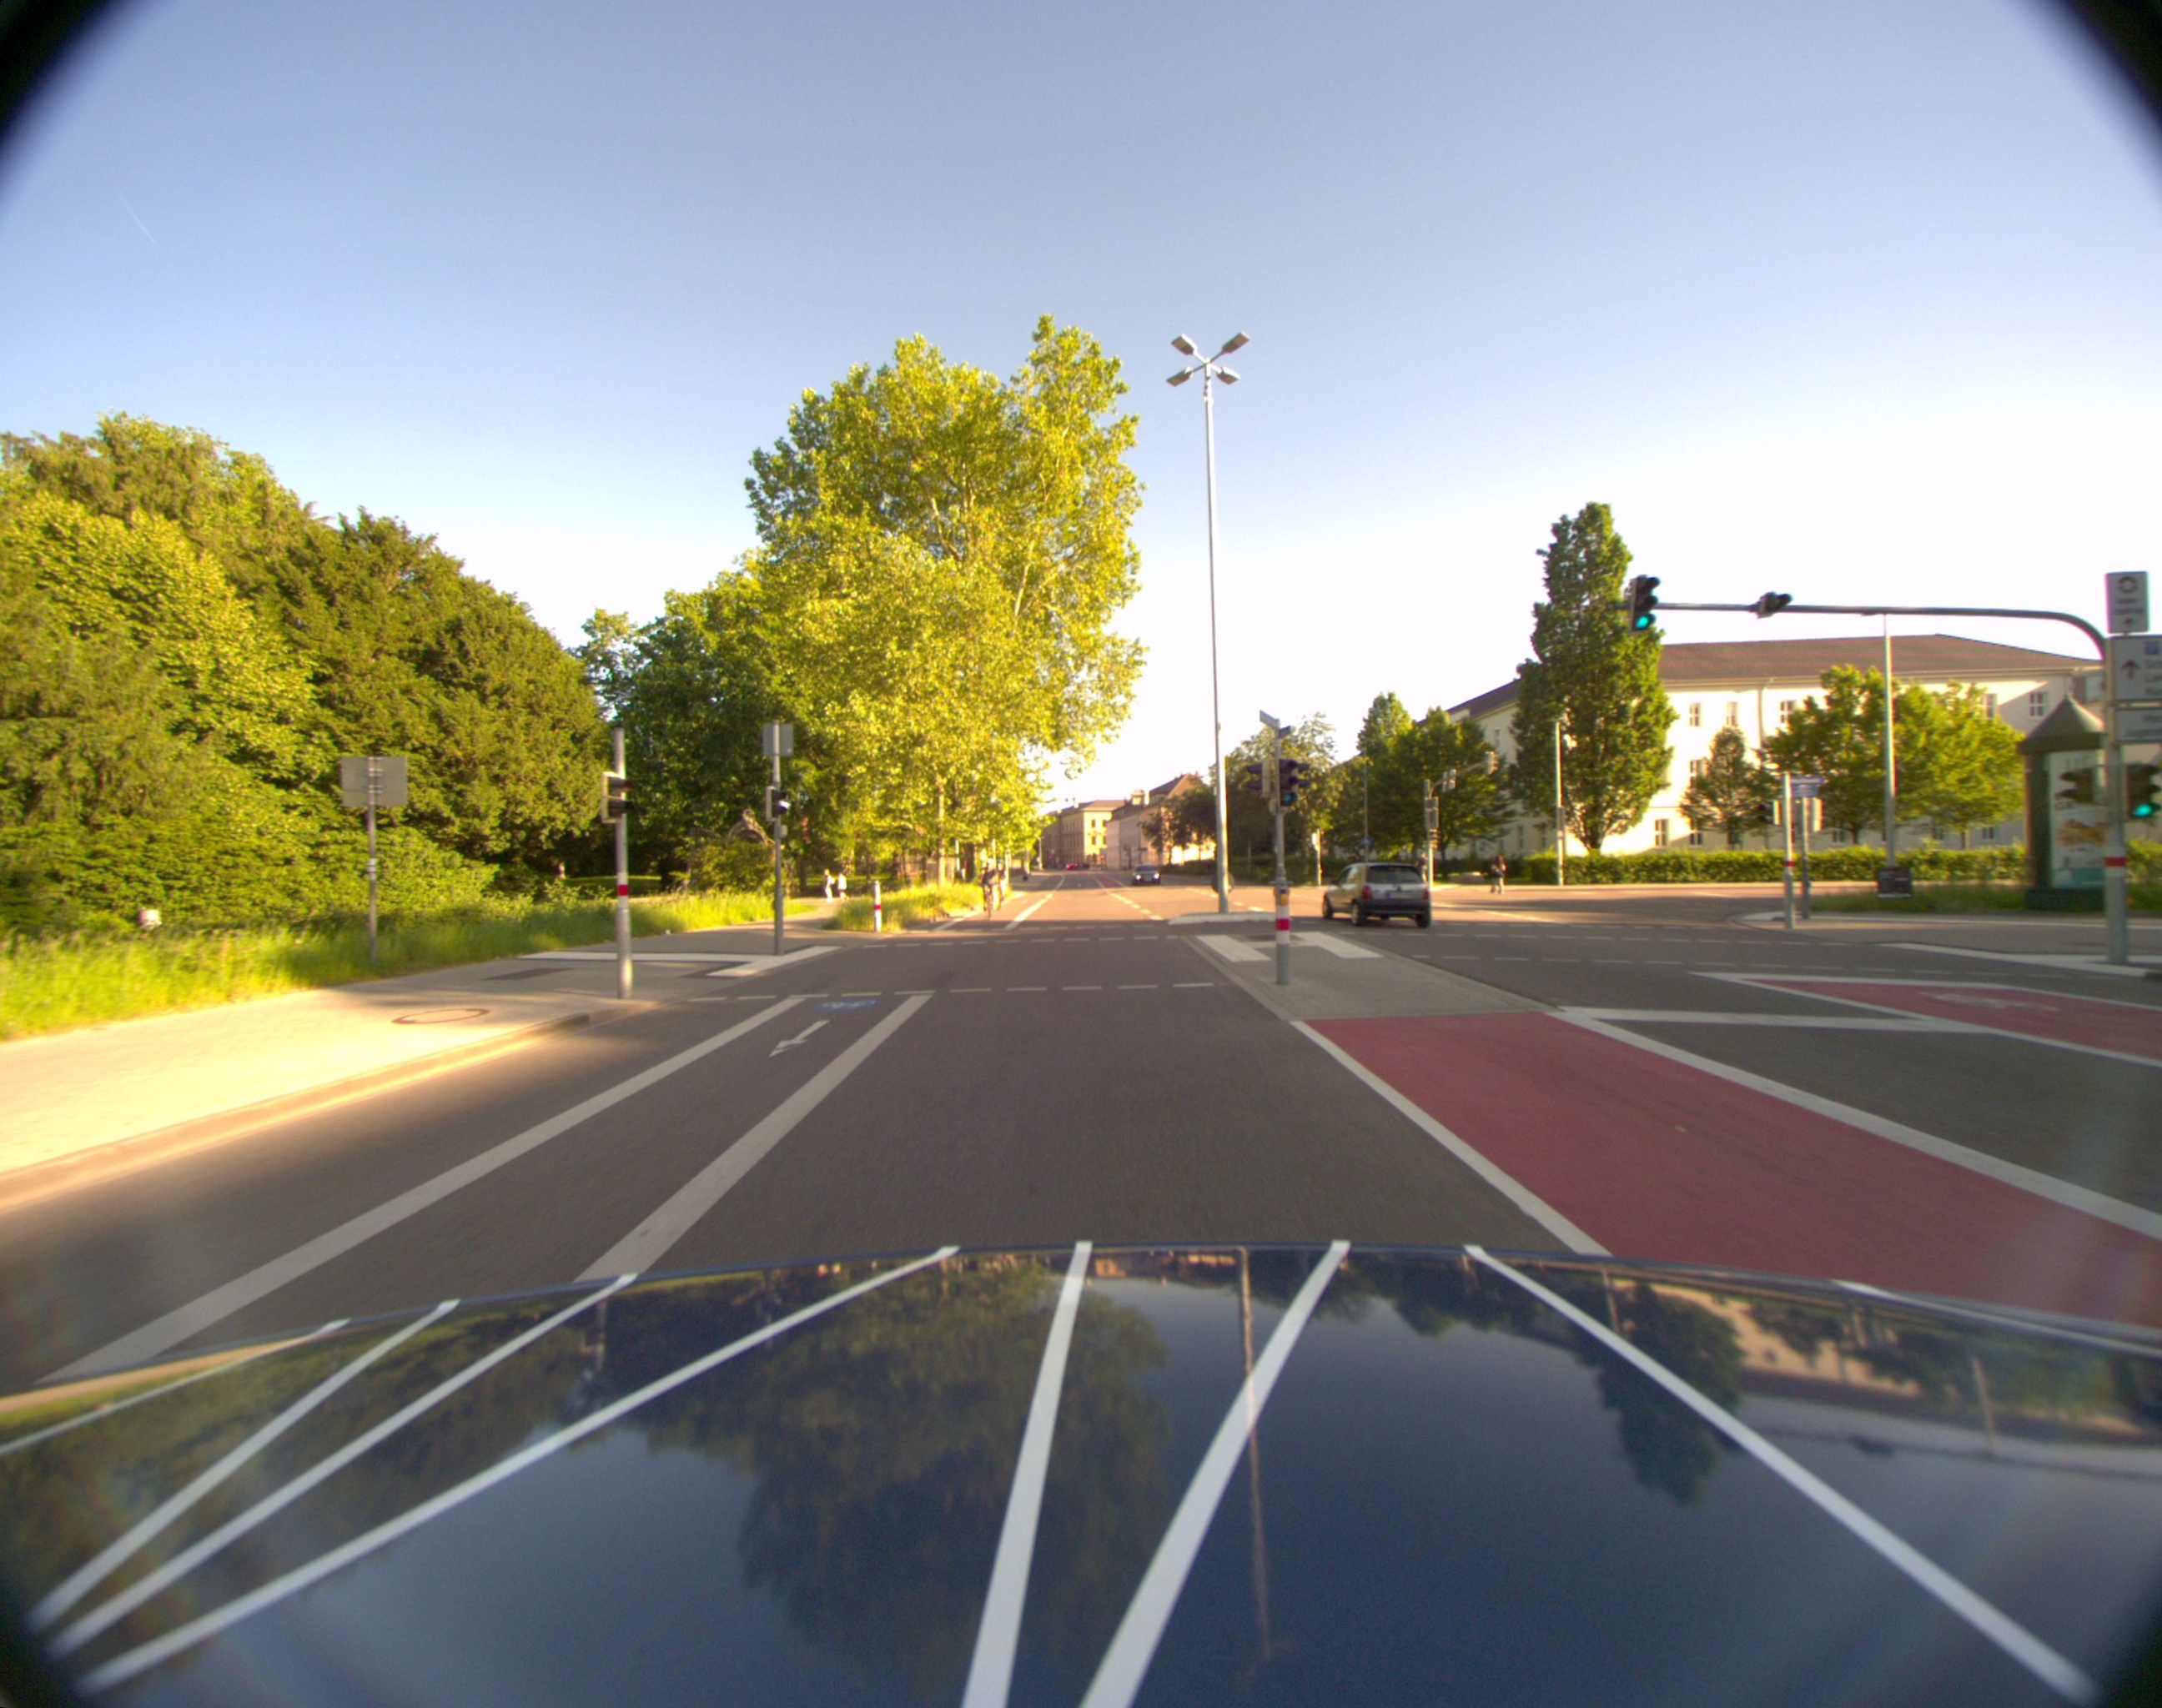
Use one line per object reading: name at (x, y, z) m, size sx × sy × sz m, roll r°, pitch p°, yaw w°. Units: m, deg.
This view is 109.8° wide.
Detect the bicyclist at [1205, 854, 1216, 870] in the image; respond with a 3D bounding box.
bicyclist at (12.120, 0.768, 70.934) m, size 0.756 × 1.457 × 0.700 m, roll -1°, pitch 0°, yaw 44°

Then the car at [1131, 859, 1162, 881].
car at (4.491, 1.099, 52.599) m, size 1.722 × 1.409 × 4.527 m, roll -1°, pitch 0°, yaw 0°

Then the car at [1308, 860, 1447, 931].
car at (6.864, 0.877, 18.129) m, size 1.714 × 1.413 × 4.555 m, roll 1°, pitch 0°, yaw 3°

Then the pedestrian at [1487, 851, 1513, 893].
pedestrian at (18.096, 0.762, 32.803) m, size 0.744 × 1.805 × 0.727 m, roll -1°, pitch 0°, yaw 9°

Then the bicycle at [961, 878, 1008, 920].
bicycle at (-2.785, 1.277, 22.141) m, size 0.694 × 1.089 × 2.138 m, roll -1°, pitch 0°, yaw 11°

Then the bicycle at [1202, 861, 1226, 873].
bicycle at (12.339, 1.235, 70.711) m, size 2.183 × 1.110 × 0.700 m, roll -1°, pitch 0°, yaw 44°

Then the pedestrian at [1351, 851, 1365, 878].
pedestrian at (17.264, 0.653, 47.343) m, size 0.691 × 1.672 × 0.681 m, roll -1°, pitch 0°, yaw 9°

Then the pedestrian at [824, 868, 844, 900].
pedestrian at (-12.867, 1.575, 39.610) m, size 0.691 × 1.624 × 0.681 m, roll -1°, pitch 0°, yaw 9°

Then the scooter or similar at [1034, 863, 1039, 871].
scooter or similar at (-6.281, 1.789, 107.164) m, size 0.416 × 1.035 × 1.779 m, roll -3°, pitch 0°, yaw 0°

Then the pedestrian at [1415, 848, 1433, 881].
pedestrian at (19.036, 0.607, 42.176) m, size 0.691 × 1.805 × 0.681 m, roll -1°, pitch 0°, yaw 9°

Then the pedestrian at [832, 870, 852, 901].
pedestrian at (-11.838, 1.561, 37.673) m, size 0.691 × 1.537 × 0.681 m, roll -1°, pitch 0°, yaw 9°

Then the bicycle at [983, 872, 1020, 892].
bicycle at (-4.607, 1.643, 44.157) m, size 1.988 × 1.089 × 0.696 m, roll -1°, pitch 0°, yaw 7°

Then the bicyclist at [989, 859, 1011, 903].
bicyclist at (-2.851, 0.945, 26.947) m, size 0.695 × 1.492 × 0.892 m, roll -1°, pitch 0°, yaw -3°

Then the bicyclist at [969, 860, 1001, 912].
bicyclist at (-2.786, 0.925, 22.102) m, size 0.694 × 1.482 × 0.801 m, roll -1°, pitch 0°, yaw 11°

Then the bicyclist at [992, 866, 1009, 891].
bicyclist at (-4.672, 1.415, 44.156) m, size 0.766 × 1.439 × 0.696 m, roll -1°, pitch 0°, yaw 7°

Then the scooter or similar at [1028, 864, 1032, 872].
scooter or similar at (-6.986, 1.894, 104.507) m, size 0.416 × 1.035 × 1.779 m, roll -3°, pitch 0°, yaw 0°
